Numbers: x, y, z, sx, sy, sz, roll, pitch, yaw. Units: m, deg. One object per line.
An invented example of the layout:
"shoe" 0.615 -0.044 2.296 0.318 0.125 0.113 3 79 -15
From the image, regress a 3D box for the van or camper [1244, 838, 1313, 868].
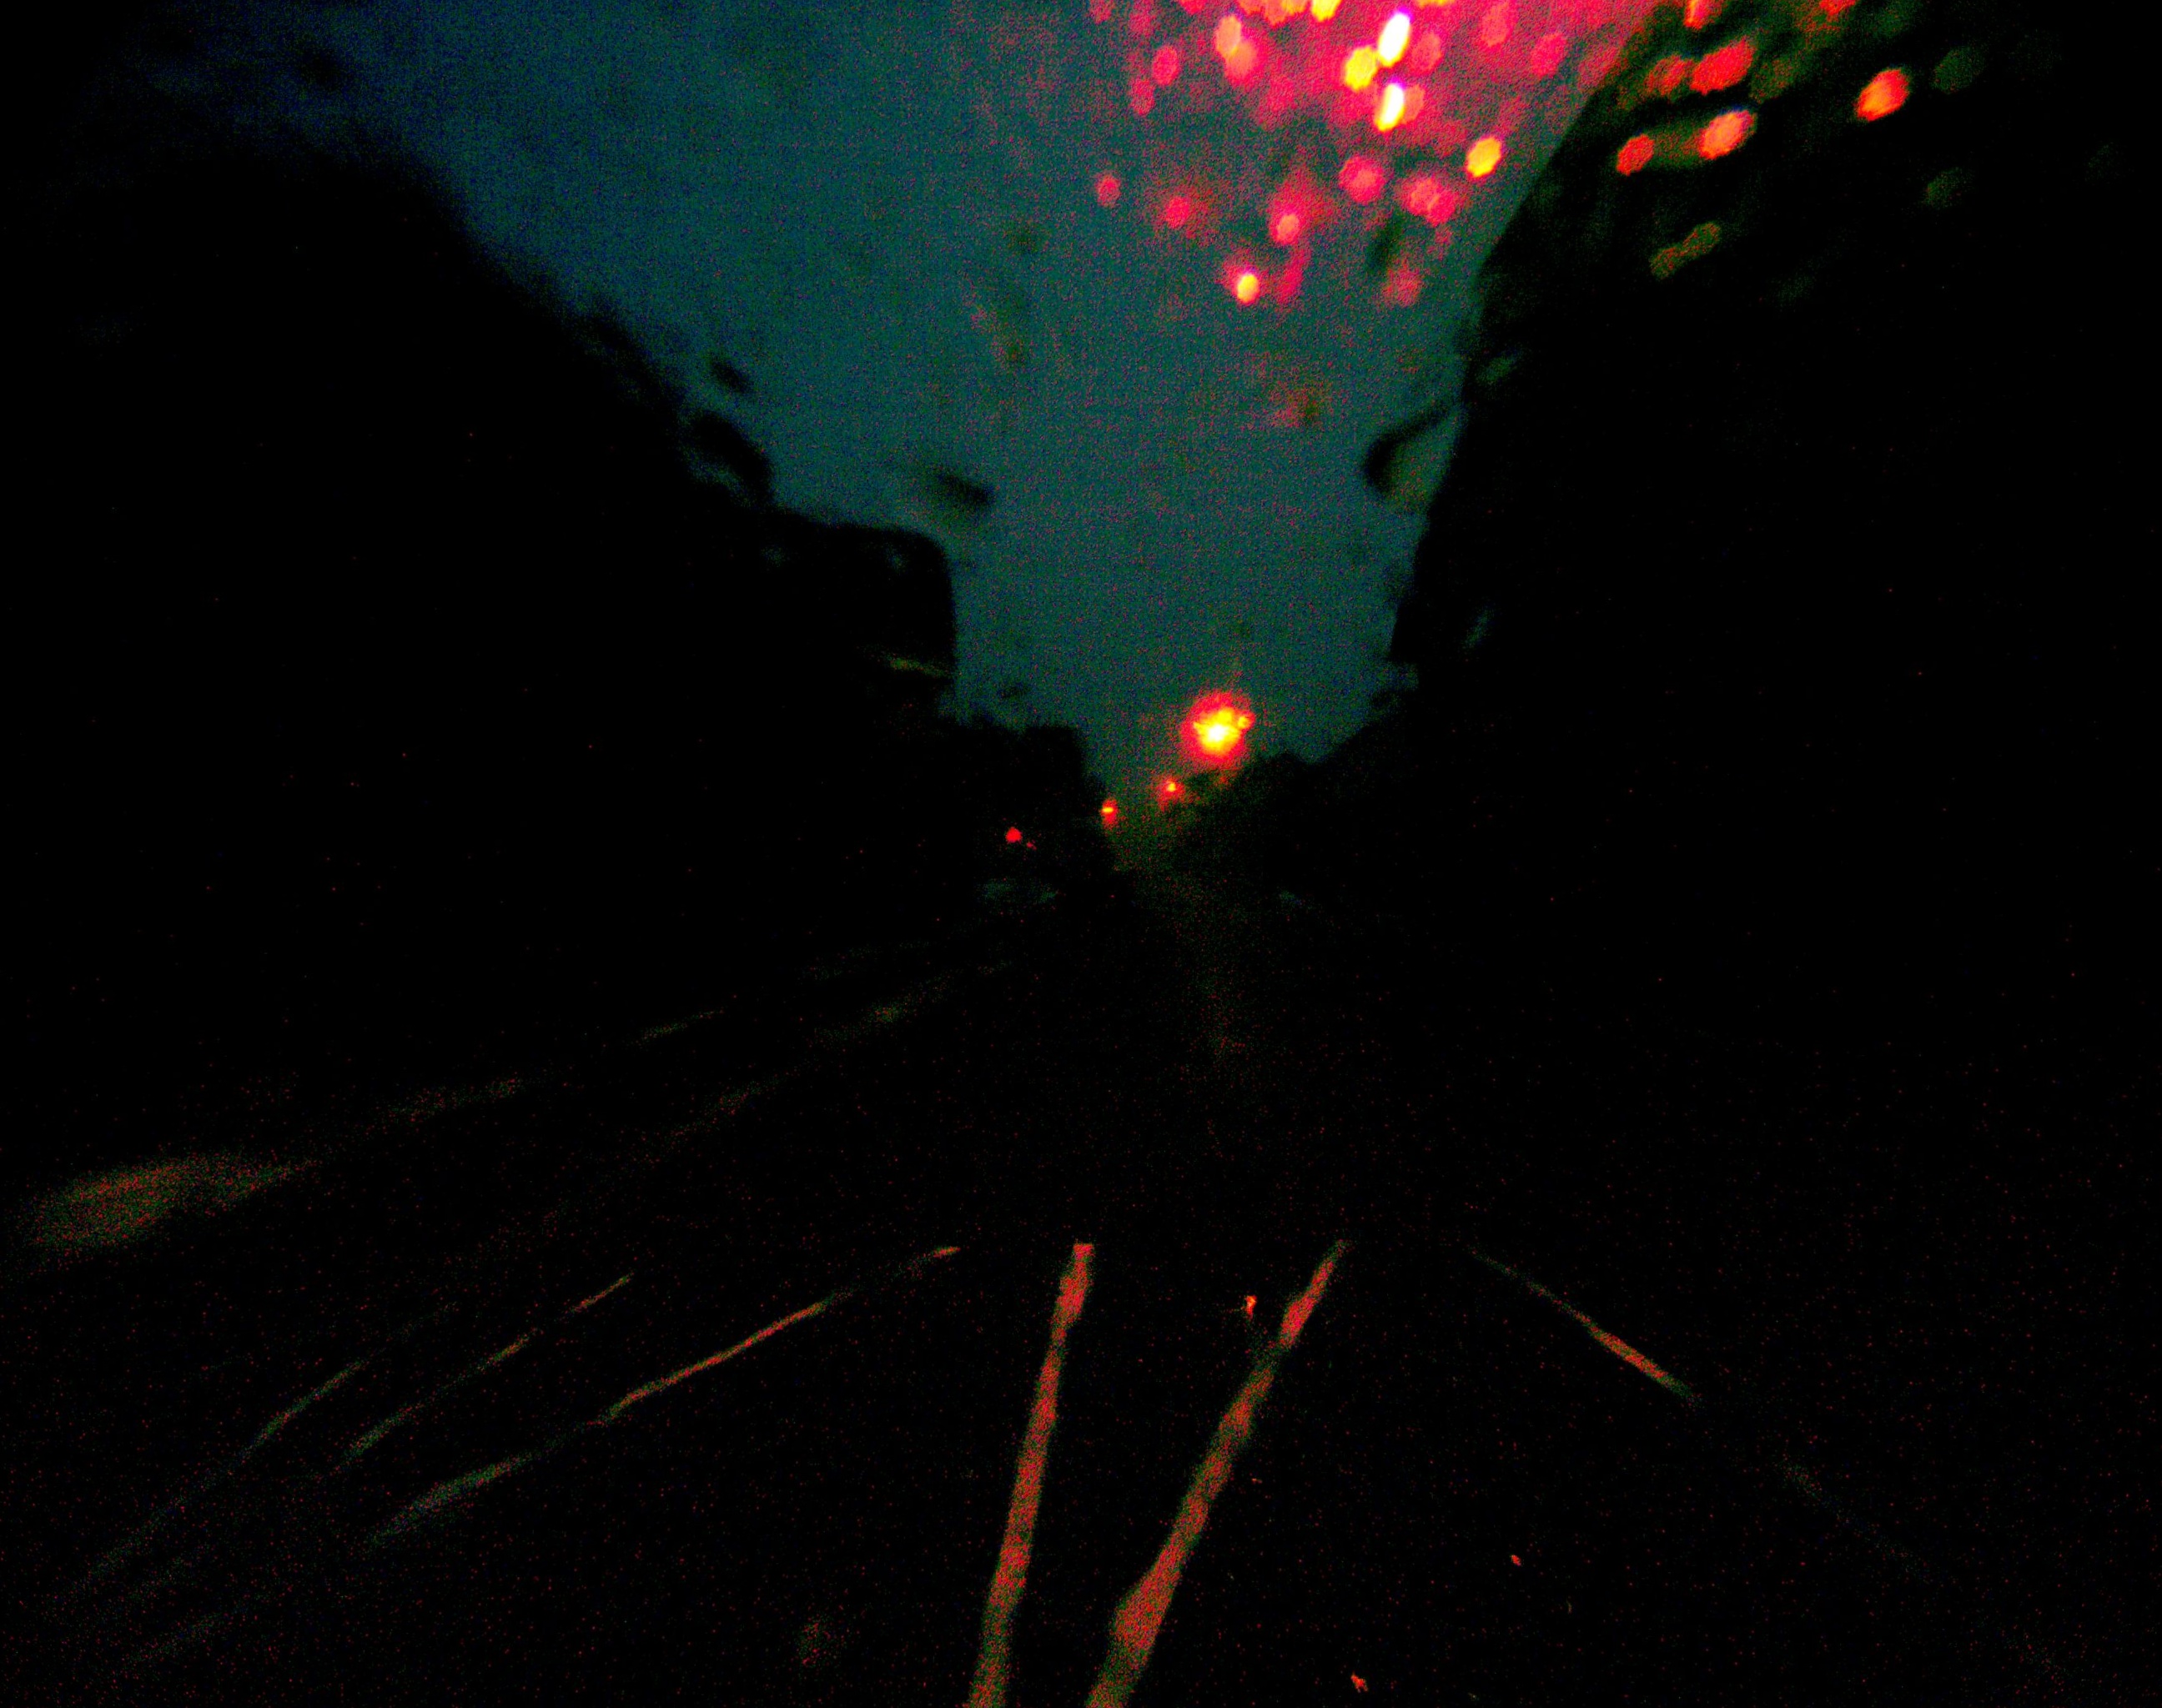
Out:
"van or camper" 16.377 -0.090 63.045 5.311 2.434 2.141 0 0 -20

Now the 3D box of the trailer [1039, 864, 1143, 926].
"trailer" 0.410 1.027 20.689 1.997 1.380 4.735 -1 0 11

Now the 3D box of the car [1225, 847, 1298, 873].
"car" 12.759 0.413 54.027 4.801 1.657 1.891 -3 0 7
